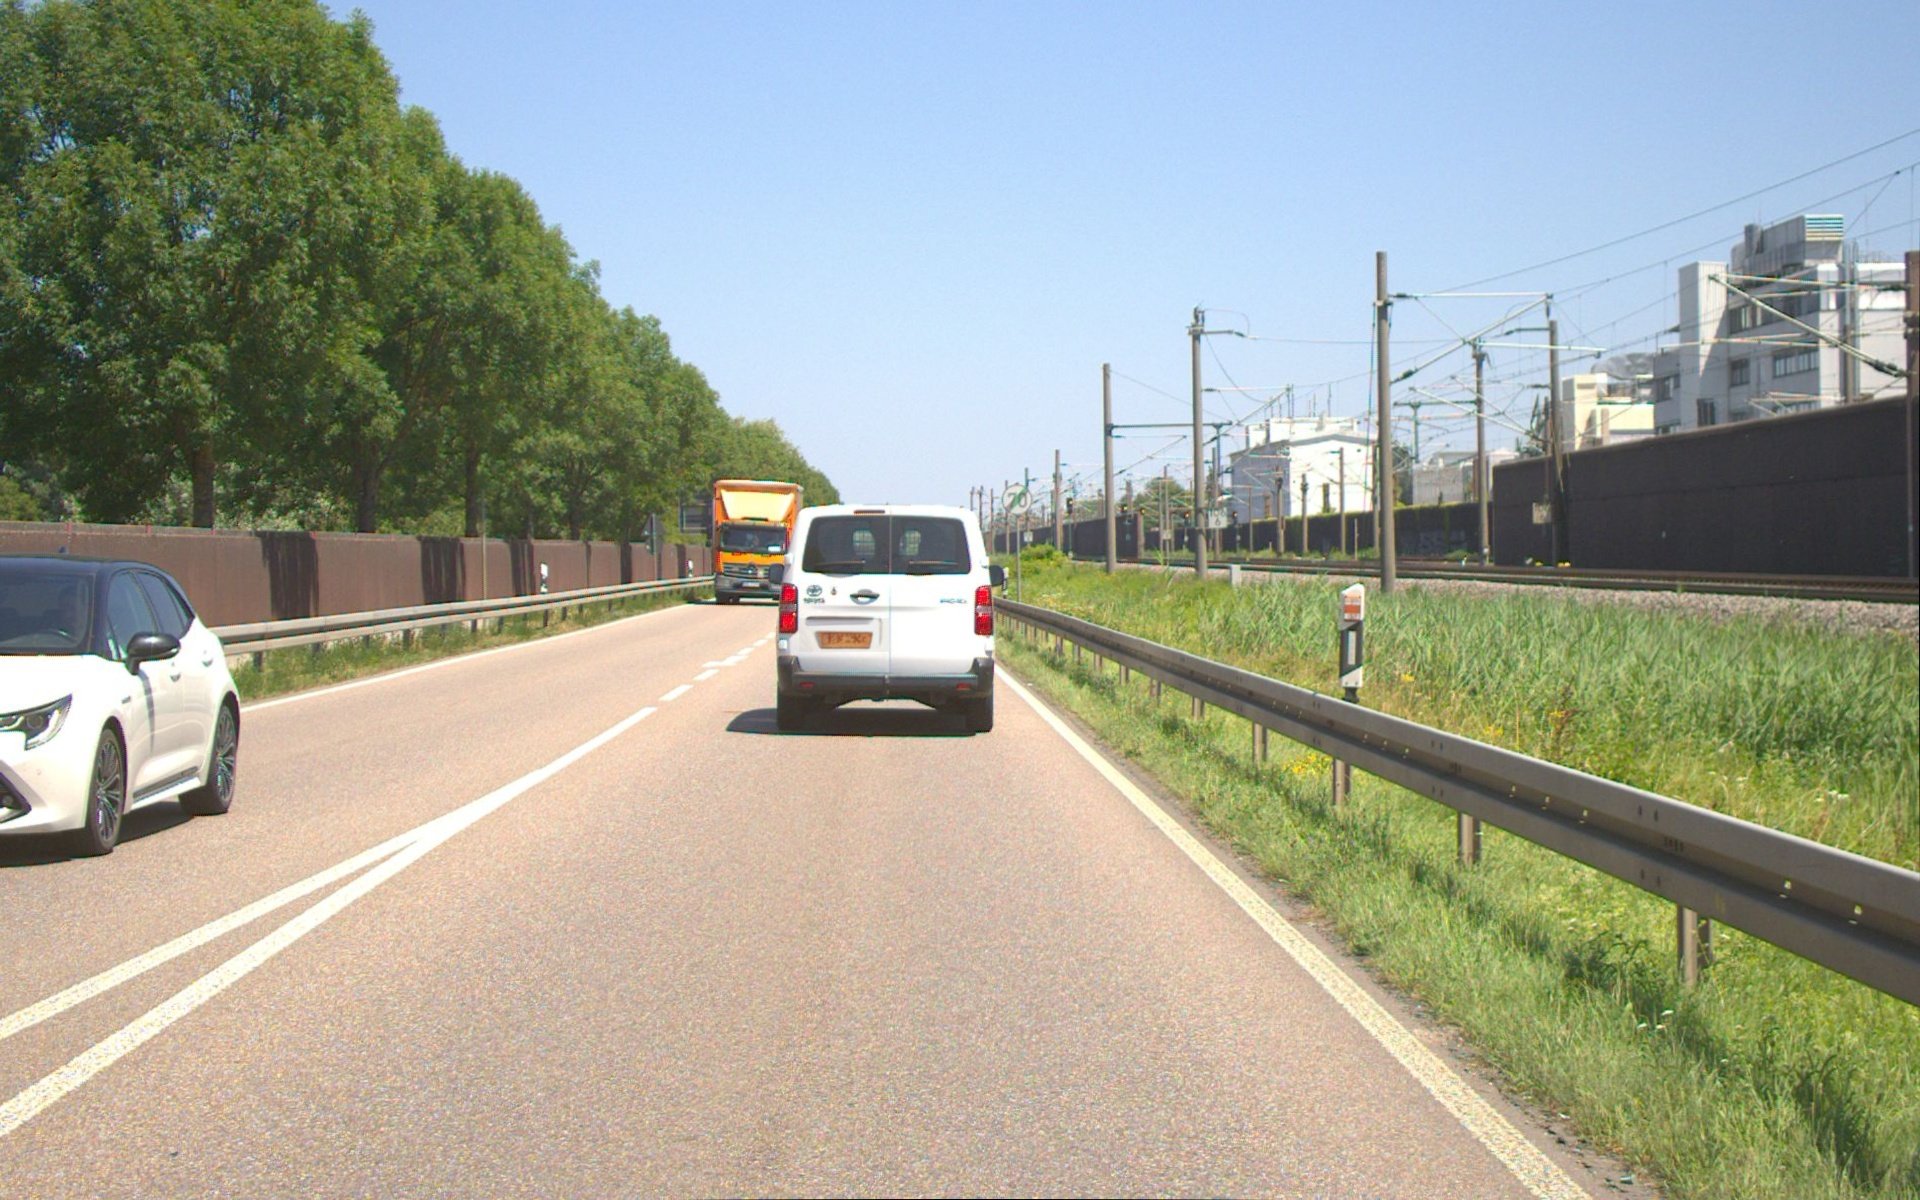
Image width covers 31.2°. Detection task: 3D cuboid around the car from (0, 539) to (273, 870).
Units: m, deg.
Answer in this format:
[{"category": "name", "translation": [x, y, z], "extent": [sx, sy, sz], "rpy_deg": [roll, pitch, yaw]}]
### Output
[{"category": "car", "translation": [-4.845, 0.421, 17.554], "extent": [1.685, 1.455, 4.616], "rpy_deg": [1, 1, 1]}]

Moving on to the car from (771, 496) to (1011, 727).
[{"category": "car", "translation": [-0.612, 0.072, 30.526], "extent": [1.945, 1.875, 4.881], "rpy_deg": [0, 1, -1]}]

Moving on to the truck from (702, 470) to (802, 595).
[{"category": "truck", "translation": [-6.614, -2.135, 110.555], "extent": [2.792, 3.827, 9.324], "rpy_deg": [0, 1, -1]}]
